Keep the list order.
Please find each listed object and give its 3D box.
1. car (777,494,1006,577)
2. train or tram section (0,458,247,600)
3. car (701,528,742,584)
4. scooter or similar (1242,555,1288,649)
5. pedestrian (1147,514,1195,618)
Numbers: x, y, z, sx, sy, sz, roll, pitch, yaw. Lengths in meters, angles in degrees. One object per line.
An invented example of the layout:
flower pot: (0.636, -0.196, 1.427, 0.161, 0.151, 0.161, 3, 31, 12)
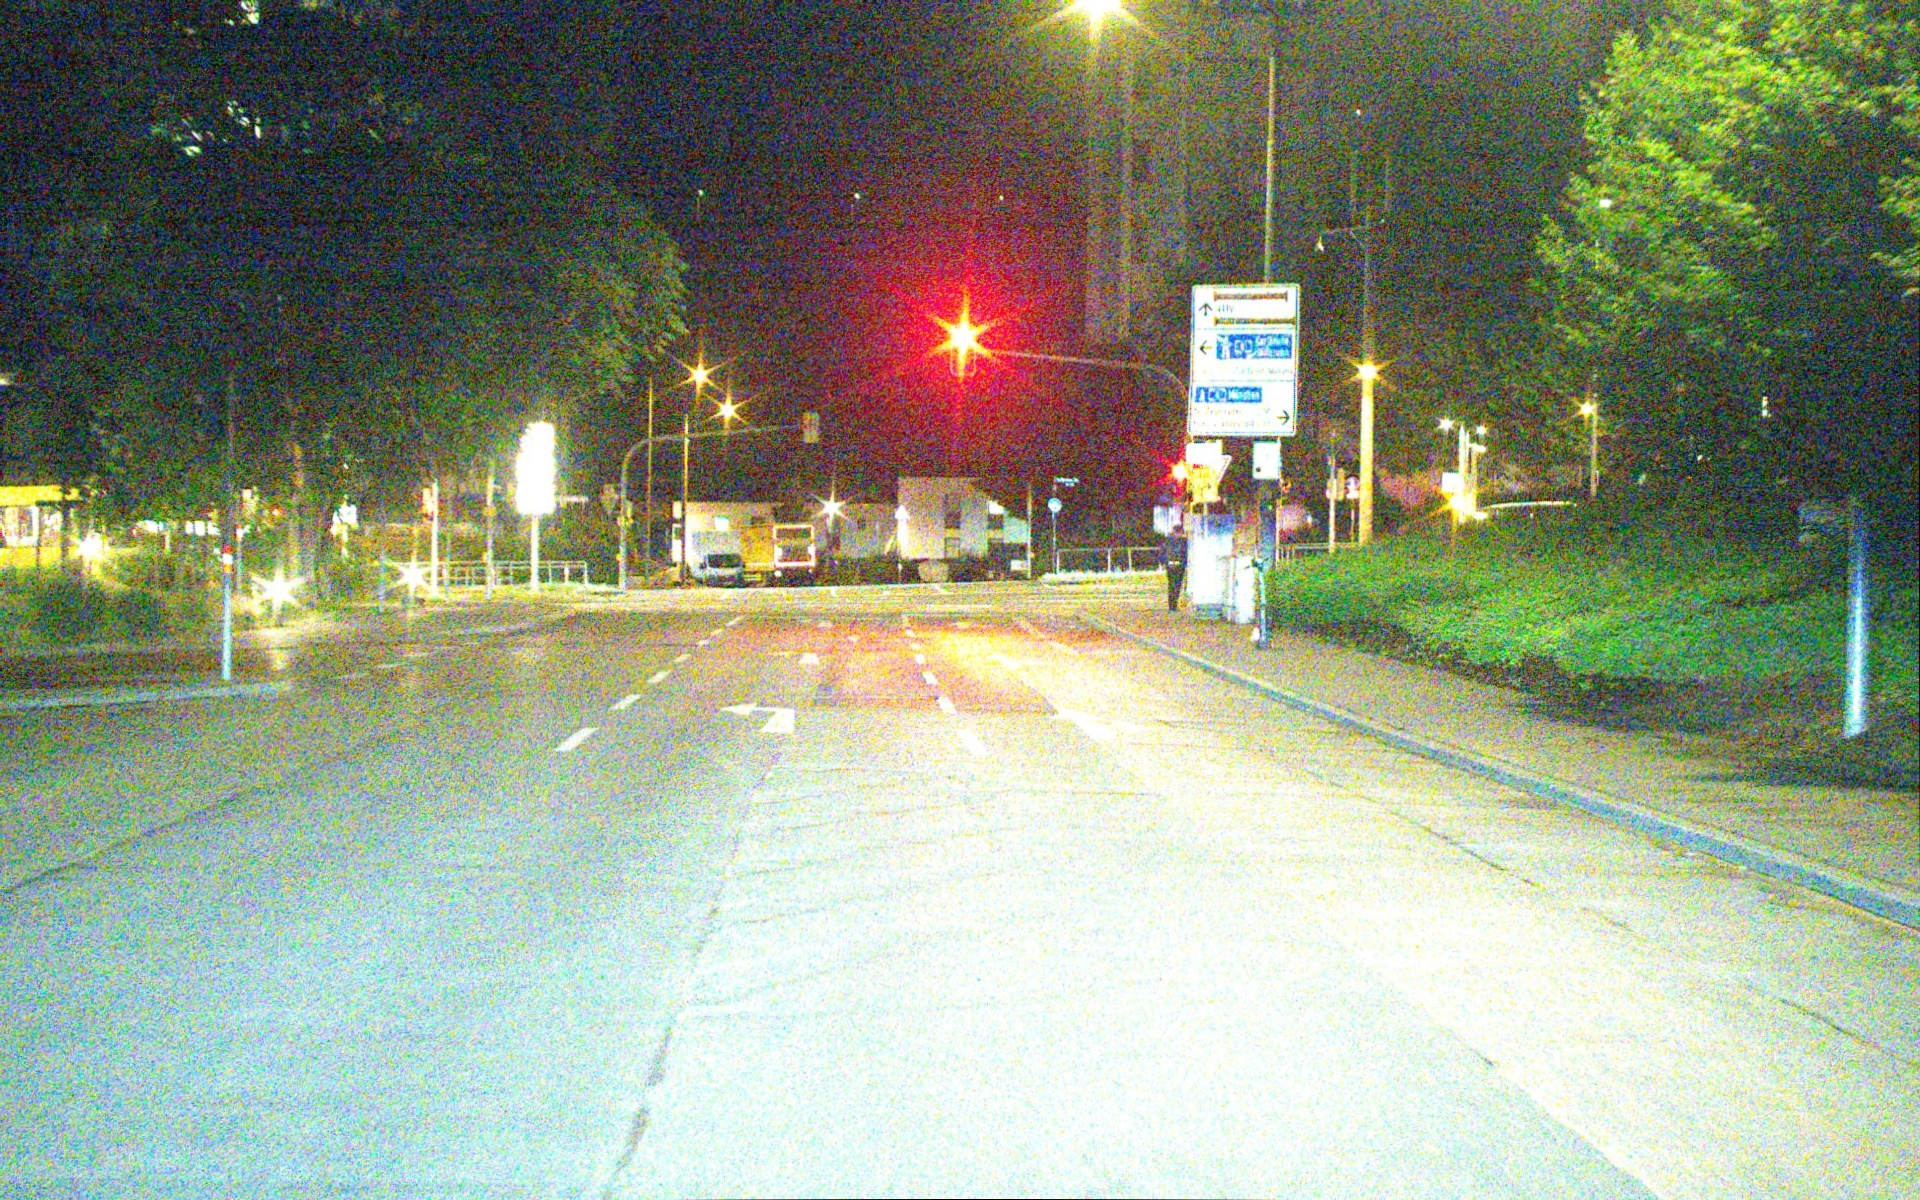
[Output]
car: (-3.994, -3.724, 197.846, 12.380, 4.693, 4.811, 0, 1, -15)
train or tram section: (-29.772, -1.906, 96.204, 19.177, 3.810, 2.923, -1, 1, 5)
car: (-12.804, -2.381, 184.446, 1.993, 2.963, 4.001, 0, 1, -6)
scooter or similar: (4.205, 0.019, 47.443, 0.494, 1.257, 1.320, -2, 1, 0)
pedestrian: (4.026, -0.649, 65.580, 0.737, 1.975, 0.626, 0, 1, -18)
